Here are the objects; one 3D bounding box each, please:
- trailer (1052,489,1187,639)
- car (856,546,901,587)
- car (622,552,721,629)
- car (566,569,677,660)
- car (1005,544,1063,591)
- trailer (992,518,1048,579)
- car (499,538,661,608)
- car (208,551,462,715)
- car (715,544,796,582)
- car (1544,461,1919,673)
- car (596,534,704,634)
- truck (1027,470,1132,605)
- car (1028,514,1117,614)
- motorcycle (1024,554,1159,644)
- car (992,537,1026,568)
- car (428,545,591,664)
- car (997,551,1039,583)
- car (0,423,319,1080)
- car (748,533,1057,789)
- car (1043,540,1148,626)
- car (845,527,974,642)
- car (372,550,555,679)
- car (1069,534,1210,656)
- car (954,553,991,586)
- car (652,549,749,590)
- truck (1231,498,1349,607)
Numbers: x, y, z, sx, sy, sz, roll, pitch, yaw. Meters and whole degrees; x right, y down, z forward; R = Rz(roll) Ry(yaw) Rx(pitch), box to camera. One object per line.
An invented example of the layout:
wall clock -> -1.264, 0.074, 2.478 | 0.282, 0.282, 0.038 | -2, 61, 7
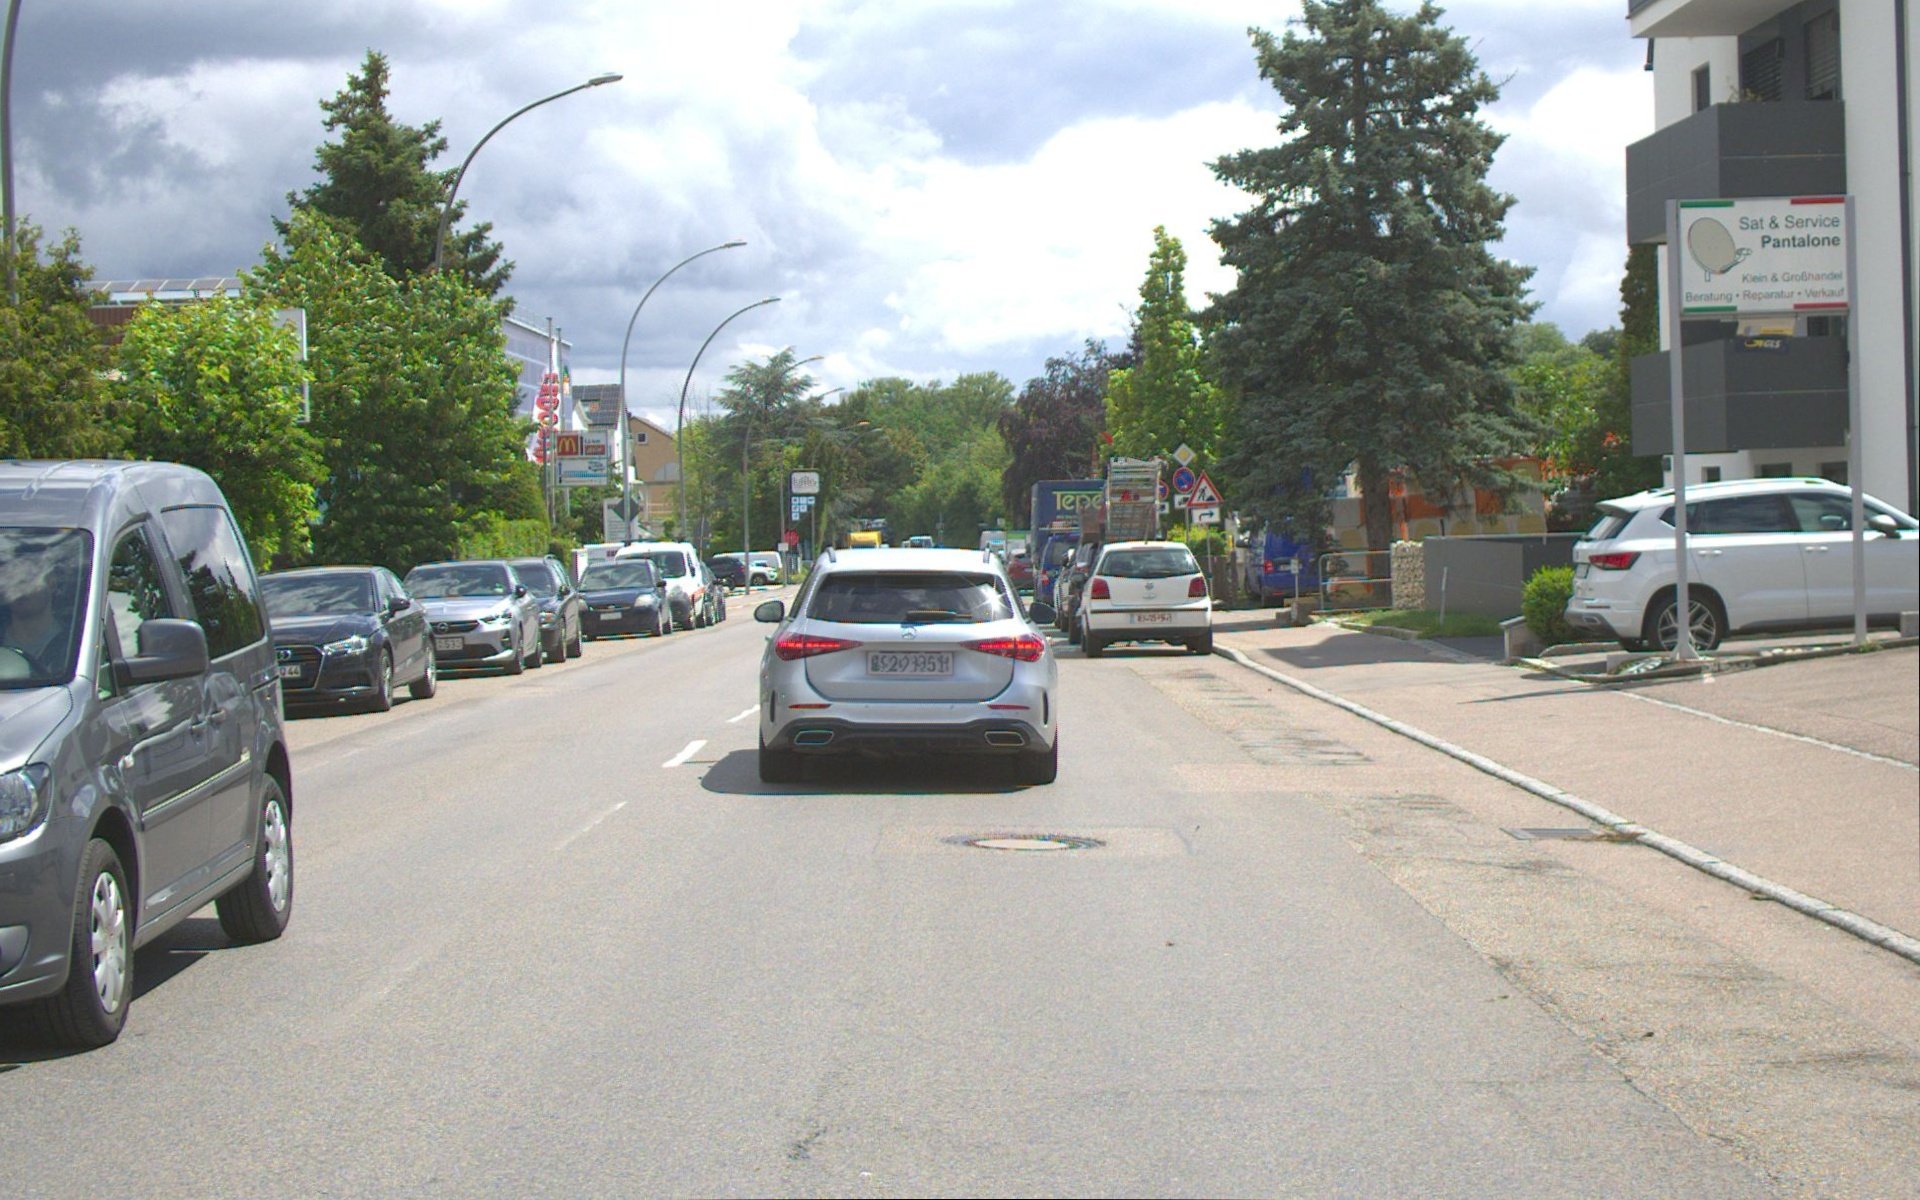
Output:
trailer -> 2.374, -0.565, 52.132 | 1.773, 2.137, 4.114 | -2, 1, 0
car -> -3.313, -1.387, 140.293 | 1.743, 1.622, 4.356 | -1, 1, 0
car -> -6.256, -0.227, 74.911 | 1.743, 1.467, 4.644 | -5, 1, -1
car -> -6.276, 0.245, 64.008 | 1.639, 1.482, 4.000 | -5, 1, -1
car -> 2.644, -1.162, 122.432 | 1.941, 1.566, 4.445 | -2, 1, 2
trailer -> 2.326, -1.986, 133.577 | 1.941, 2.286, 4.446 | -2, 1, -1
car -> -11.351, -0.824, 102.964 | 4.651, 1.965, 2.116 | -2, 1, -3
car -> -6.079, 0.273, 33.899 | 1.662, 1.409, 4.339 | -3, 1, 0
car -> -11.144, -1.996, 187.640 | 4.279, 1.830, 1.991 | -2, -2, -1
car -> 7.752, -0.361, 32.002 | 4.192, 1.648, 1.867 | -5, 1, 0
car -> -6.263, -0.358, 69.803 | 1.743, 1.832, 4.356 | -5, 1, -1
truck -> 2.800, -1.497, 81.968 | 2.320, 3.086, 6.042 | 0, 1, 0
car -> 2.478, -0.819, 76.497 | 1.873, 2.161, 4.464 | 0, 1, 1
motorcycle -> 1.880, -0.027, 48.981 | 1.817, 1.205, 0.717 | -3, 1, -35
car -> 3.229, -3.144, 228.171 | 2.144, 1.977, 5.261 | -2, 1, 1
car -> -6.241, 0.020, 48.076 | 1.719, 1.488, 4.736 | -2, 1, -2
car -> 2.863, -1.642, 169.456 | 1.791, 1.445, 4.364 | -2, 1, -2
car -> -3.388, 0.404, 11.533 | 1.662, 1.789, 4.339 | -3, 1, -1
car -> -0.393, 0.316, 22.133 | 1.784, 1.479, 4.317 | 0, 1, -2
car -> 2.526, -0.347, 64.941 | 1.773, 1.503, 4.000 | -2, 1, 0
car -> -0.758, -0.253, 49.647 | 1.755, 1.553, 4.000 | -1, 1, -2
car -> -6.183, 0.145, 43.186 | 1.719, 1.427, 4.200 | -3, 1, -2
car -> 2.353, -0.102, 45.533 | 1.719, 1.427, 3.983 | -3, 1, 2
car -> 0.606, -1.531, 170.375 | 1.755, 1.553, 4.000 | -1, 1, 0
car -> -12.847, -1.521, 170.364 | 4.626, 1.627, 2.198 | -5, 1, -3
truck -> 7.133, -1.077, 74.728 | 1.829, 2.074, 5.386 | -5, 2, -1
